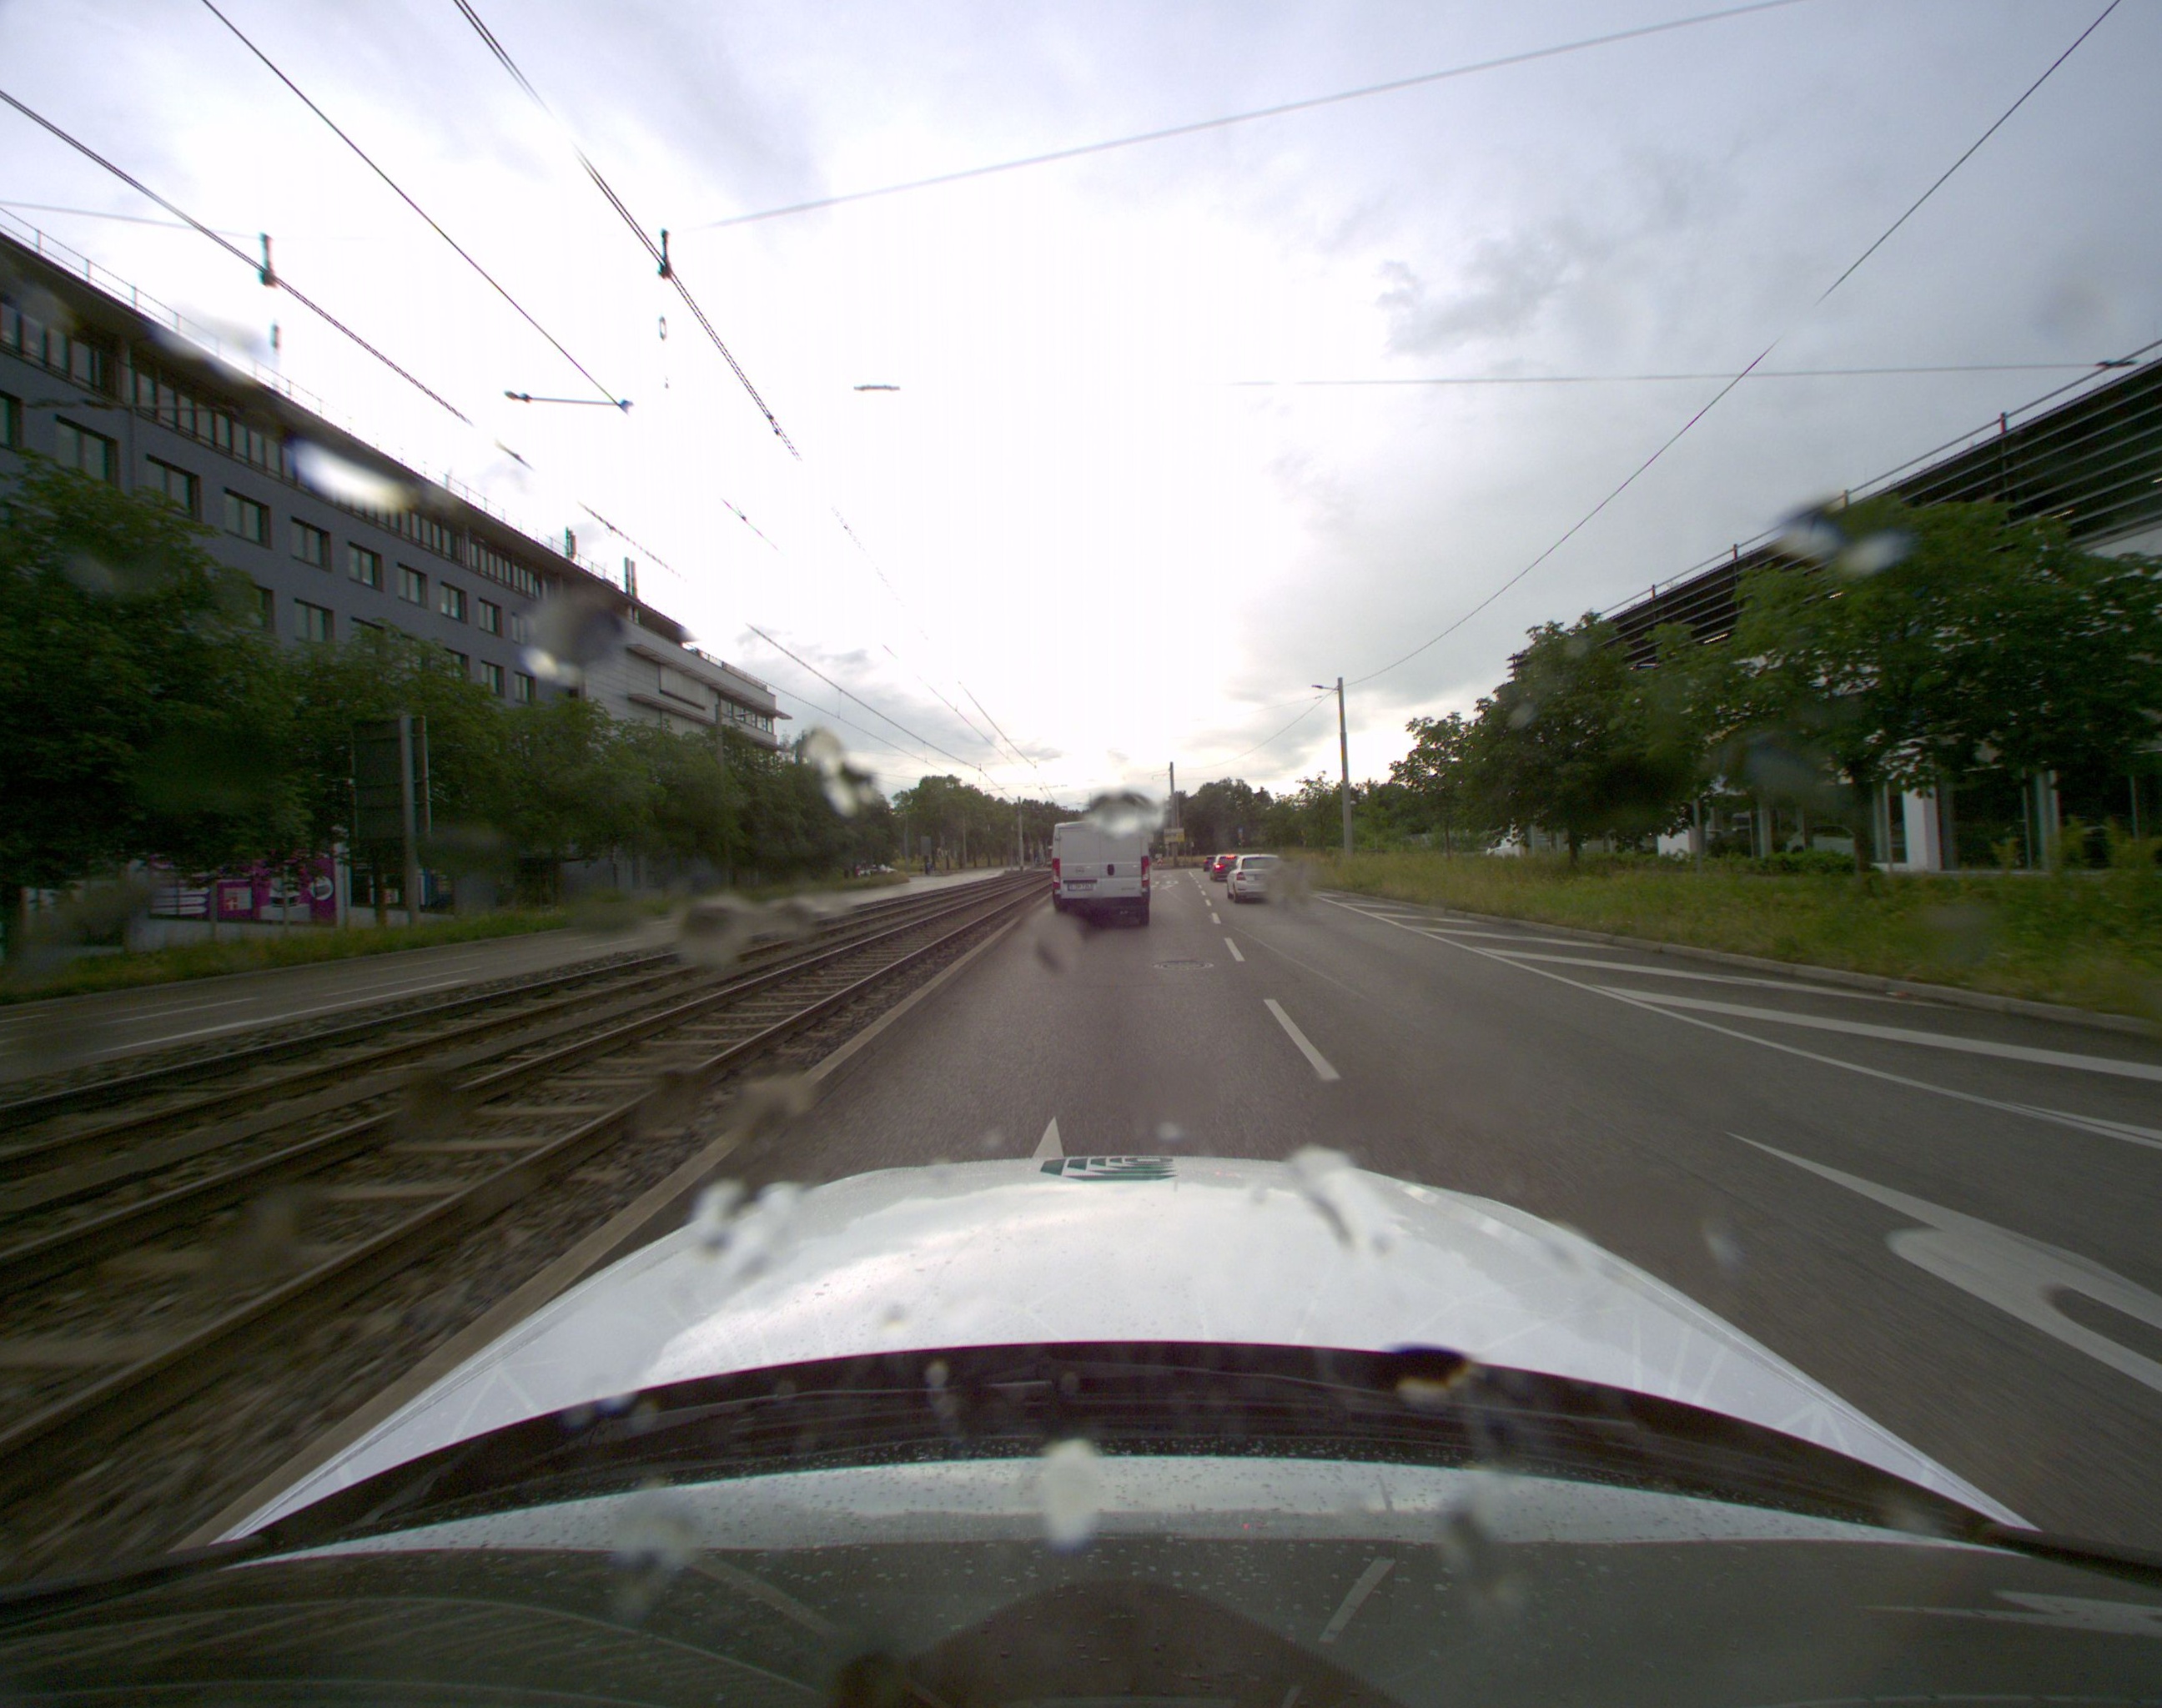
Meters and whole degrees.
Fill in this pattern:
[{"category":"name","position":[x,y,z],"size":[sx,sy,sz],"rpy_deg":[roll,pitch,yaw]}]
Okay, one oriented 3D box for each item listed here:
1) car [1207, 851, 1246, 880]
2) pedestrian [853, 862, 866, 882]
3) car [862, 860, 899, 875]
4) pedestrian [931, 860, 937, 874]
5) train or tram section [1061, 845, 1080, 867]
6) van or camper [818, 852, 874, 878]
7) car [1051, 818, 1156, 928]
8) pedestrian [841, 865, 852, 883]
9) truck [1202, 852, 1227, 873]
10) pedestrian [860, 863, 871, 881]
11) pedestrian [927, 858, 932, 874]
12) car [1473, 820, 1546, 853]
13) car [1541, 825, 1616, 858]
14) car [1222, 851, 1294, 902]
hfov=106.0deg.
[{"category":"car","position":[7.733,0.582,43.583],"size":[1.780,1.449,4.007],"rpy_deg":[-1,0,7]},{"category":"pedestrian","position":[-23.650,1.937,86.917],"size":[0.880,2.013,0.949],"rpy_deg":[-3,0,17]},{"category":"car","position":[-25.282,1.723,102.635],"size":[4.571,1.732,2.013],"rpy_deg":[-2,0,35]},{"category":"pedestrian","position":[-18.859,1.623,104.234],"size":[0.503,1.787,0.833],"rpy_deg":[0,0,6]},{"category":"train or tram section","position":[-1.932,0.350,149.102],"size":[2.916,3.933,7.012],"rpy_deg":[0,0,4]},{"category":"van or camper","position":[-28.980,1.322,100.196],"size":[7.279,2.967,2.507],"rpy_deg":[-2,0,36]},{"category":"car","position":[0.550,0.362,19.007],"size":[2.082,2.196,5.063],"rpy_deg":[-1,0,2]},{"category":"pedestrian","position":[-23.693,2.006,82.271],"size":[0.722,1.755,0.878],"rpy_deg":[0,0,4]},{"category":"truck","position":[12.173,0.764,74.671],"size":[1.983,1.790,4.422],"rpy_deg":[-3,0,7]},{"category":"pedestrian","position":[-22.907,1.939,86.756],"size":[0.628,1.867,0.958],"rpy_deg":[-3,0,18]},{"category":"pedestrian","position":[-19.426,1.538,104.375],"size":[0.493,1.955,0.723],"rpy_deg":[0,0,6]},{"category":"car","position":[28.334,-1.099,54.003],"size":[2.038,2.013,5.088],"rpy_deg":[-2,0,-1]},{"category":"car","position":[32.496,-0.768,53.354],"size":[1.940,2.050,4.703],"rpy_deg":[0,0,-2]},{"category":"car","position":[5.500,0.643,25.676],"size":[1.738,1.457,3.676],"rpy_deg":[-1,0,5]}]
